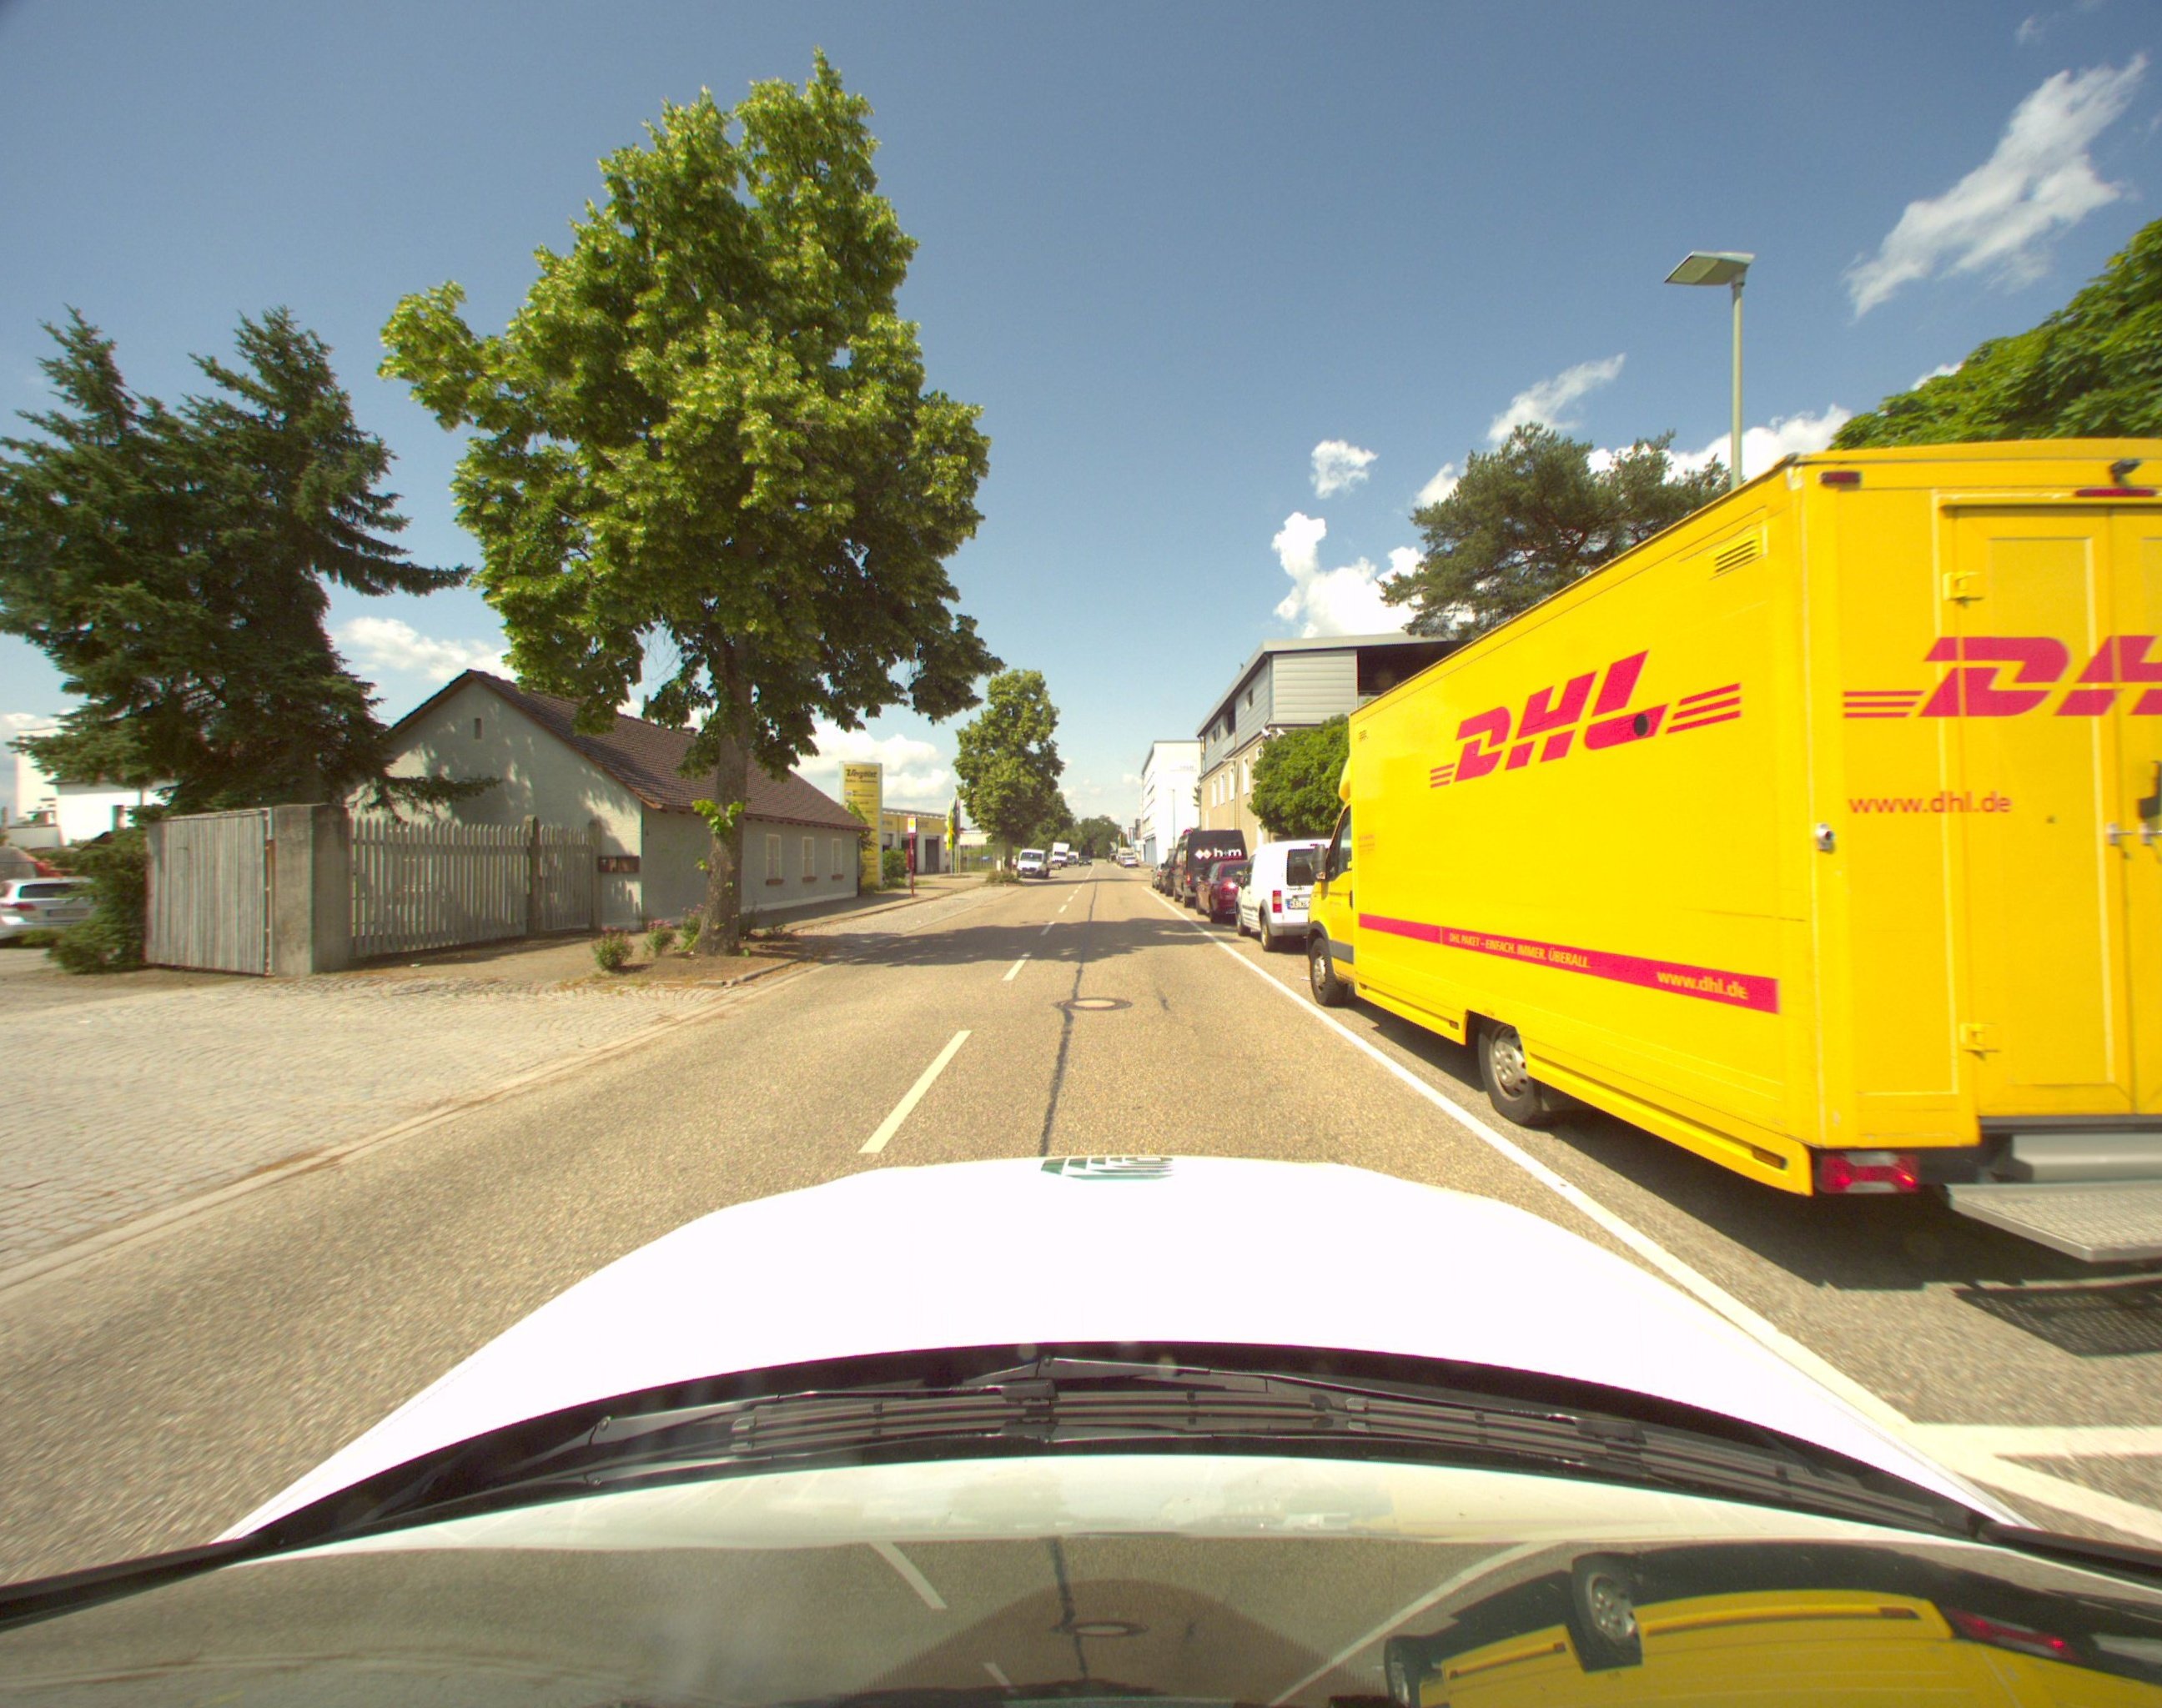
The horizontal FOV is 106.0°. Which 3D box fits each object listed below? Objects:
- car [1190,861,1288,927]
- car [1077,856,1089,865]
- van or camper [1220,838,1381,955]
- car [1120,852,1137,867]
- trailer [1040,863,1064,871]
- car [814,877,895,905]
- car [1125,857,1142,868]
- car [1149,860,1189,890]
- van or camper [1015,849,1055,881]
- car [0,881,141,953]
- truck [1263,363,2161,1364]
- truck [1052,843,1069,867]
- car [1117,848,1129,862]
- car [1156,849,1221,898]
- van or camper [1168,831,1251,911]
[{"bbox_3d":[3.828,0.902,20.452,1.675,1.442,4.768,0,0,1],"label":"car"},{"bbox_3d":[0.294,0.986,120.630,1.648,1.324,4.418,-1,0,2],"label":"car"},{"bbox_3d":[3.878,0.668,15.395,1.752,1.805,5.590,0,0,2],"label":"van or camper"},{"bbox_3d":[6.496,0.745,111.994,2.208,2.013,5.487,-1,0,2],"label":"car"},{"bbox_3d":[-3.376,1.522,95.373,2.408,0.813,5.539,1,0,2],"label":"trailer"},{"bbox_3d":[-12.242,1.990,44.087,3.809,1.422,1.737,-1,0,13],"label":"car"},{"bbox_3d":[6.329,0.987,98.480,1.921,1.310,4.001,-1,0,1],"label":"car"},{"bbox_3d":[4.221,0.978,39.487,1.623,1.353,3.925,-1,0,1],"label":"car"},{"bbox_3d":[-3.630,0.840,66.243,2.163,2.413,7.707,-1,0,5],"label":"van or camper"},{"bbox_3d":[-23.184,1.356,18.178,3.951,1.416,1.791,-2,-1,24],"label":"car"},{"bbox_3d":[3.356,0.041,6.003,2.466,2.940,7.188,1,0,0],"label":"truck"},{"bbox_3d":[-2.745,0.138,110.467,2.022,3.154,6.502,-1,0,2],"label":"truck"},{"bbox_3d":[6.309,0.164,122.580,1.701,2.090,4.001,-1,0,1],"label":"car"},{"bbox_3d":[4.232,0.739,32.704,1.954,1.780,4.954,1,0,0],"label":"car"},{"bbox_3d":[4.052,0.500,26.596,1.986,2.291,5.449,1,0,1],"label":"van or camper"}]
